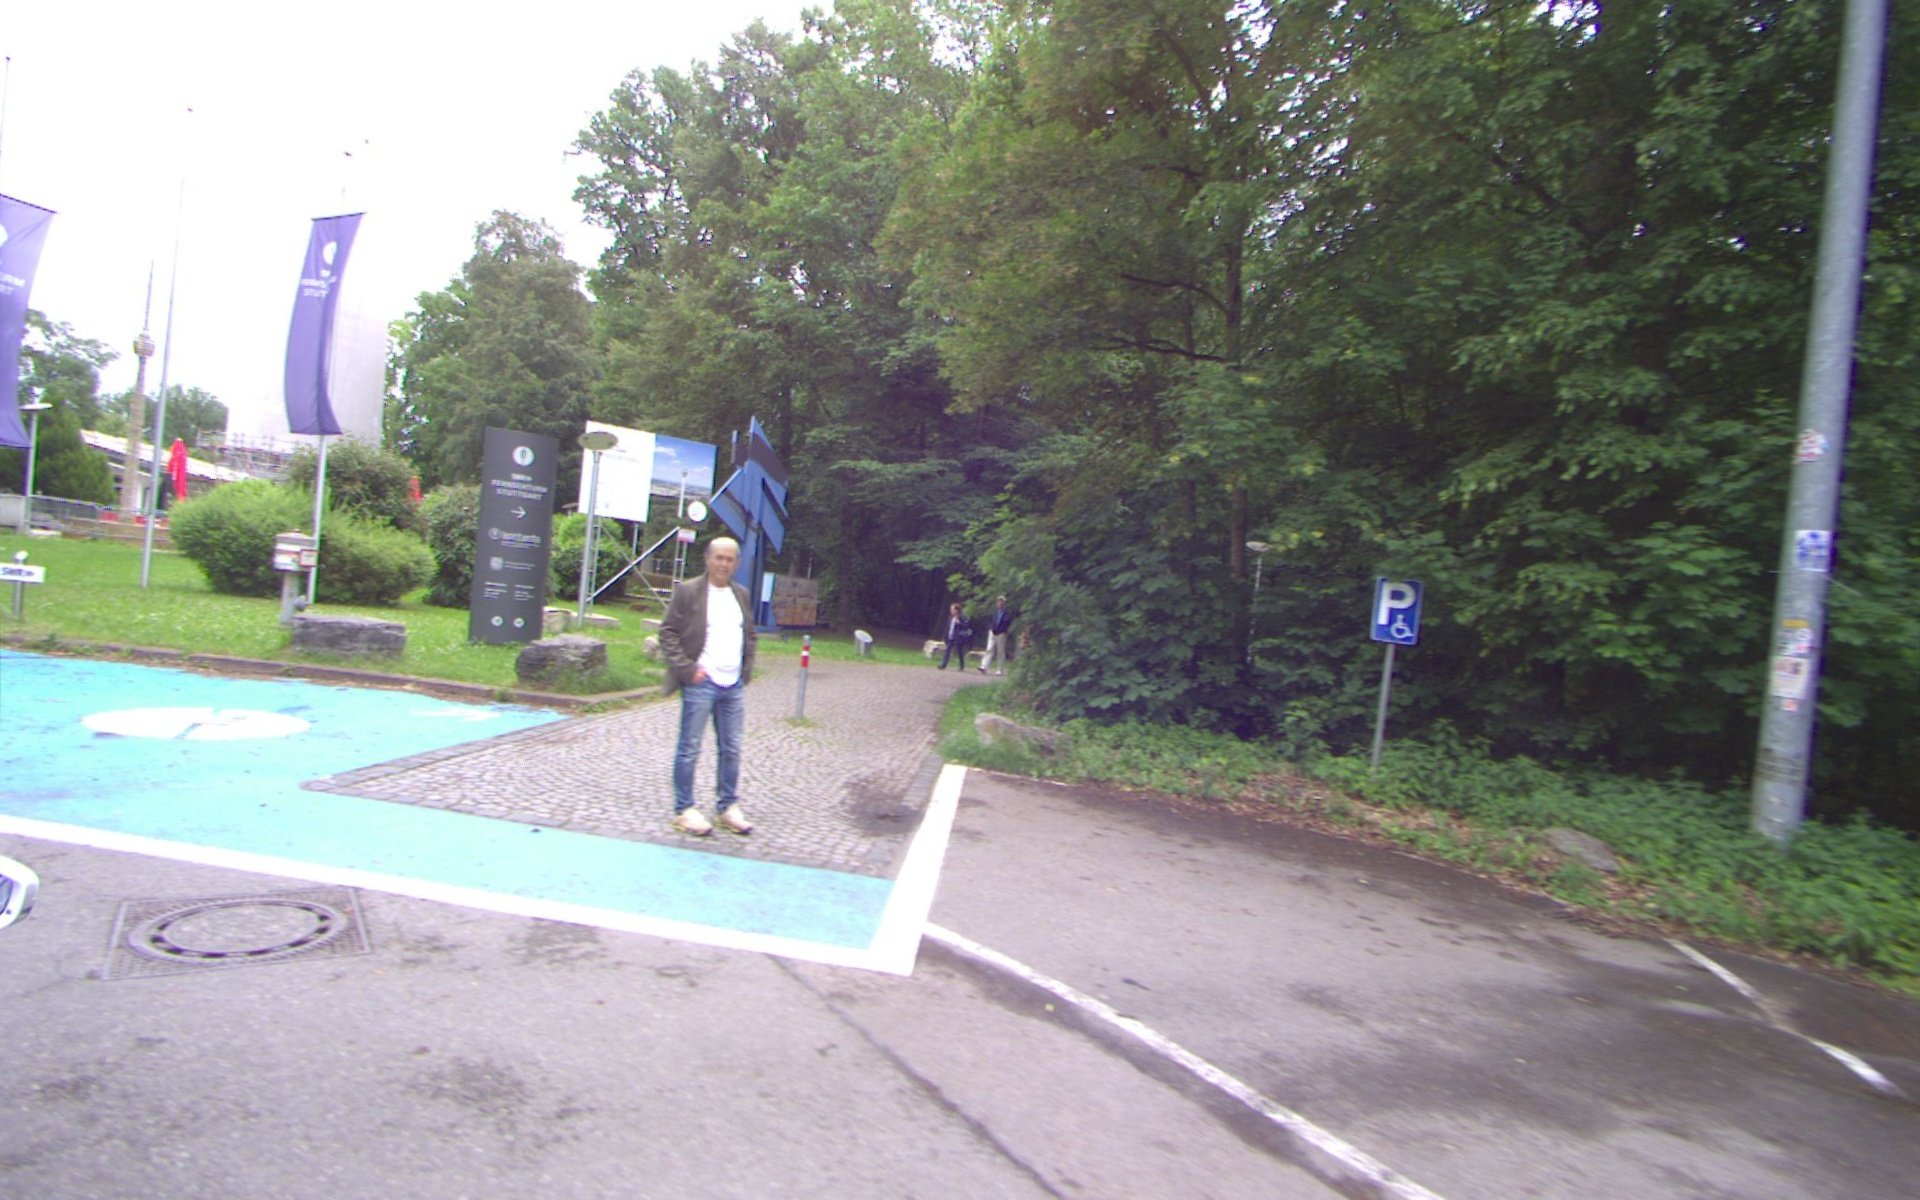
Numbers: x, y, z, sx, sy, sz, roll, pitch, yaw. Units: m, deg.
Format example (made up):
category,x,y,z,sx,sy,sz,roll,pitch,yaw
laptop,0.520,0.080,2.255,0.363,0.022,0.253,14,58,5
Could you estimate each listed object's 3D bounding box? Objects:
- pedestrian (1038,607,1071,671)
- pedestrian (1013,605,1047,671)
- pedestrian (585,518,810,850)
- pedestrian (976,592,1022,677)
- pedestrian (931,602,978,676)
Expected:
category,x,y,z,sx,sy,sz,roll,pitch,yaw
pedestrian,2.797,1.158,29.645,0.668,1.790,0.714,7,1,15
pedestrian,1.984,1.078,28.447,0.671,1.784,0.605,7,1,15
pedestrian,-1.541,0.455,5.894,0.885,1.746,0.760,7,1,44
pedestrian,0.937,0.831,24.236,0.721,1.940,0.668,7,1,20
pedestrian,-0.129,0.931,23.893,0.764,1.654,0.637,7,1,20
